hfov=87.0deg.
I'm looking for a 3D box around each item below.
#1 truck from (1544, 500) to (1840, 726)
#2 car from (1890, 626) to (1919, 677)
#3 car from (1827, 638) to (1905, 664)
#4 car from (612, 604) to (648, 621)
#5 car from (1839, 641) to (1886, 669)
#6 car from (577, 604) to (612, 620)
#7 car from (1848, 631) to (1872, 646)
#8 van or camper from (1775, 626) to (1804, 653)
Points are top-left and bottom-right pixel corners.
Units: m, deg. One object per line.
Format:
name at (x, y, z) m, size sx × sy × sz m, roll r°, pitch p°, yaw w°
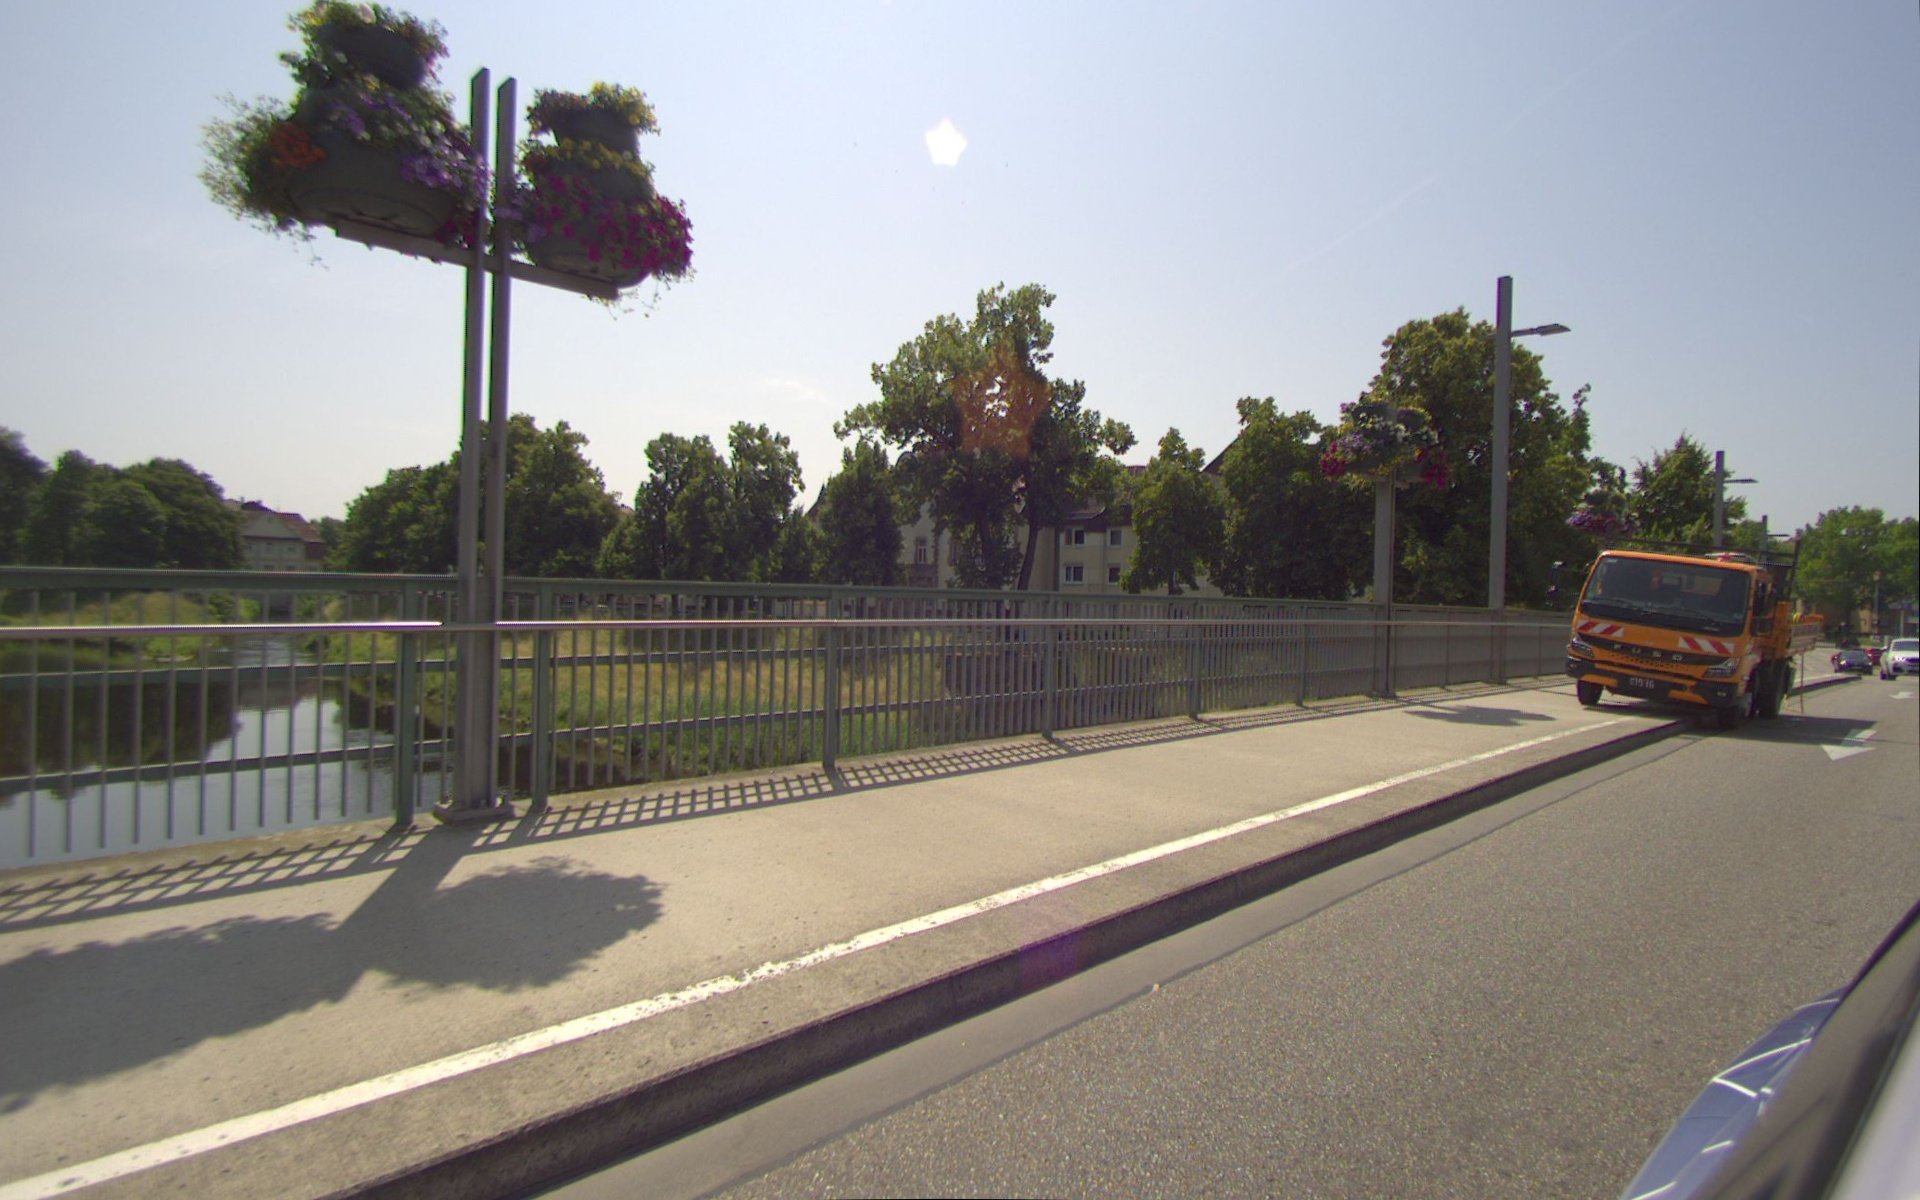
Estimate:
truck at (11.105, 0.173, 15.131) m, size 5.726 × 2.725 × 2.608 m, roll 2°, pitch 0°, yaw -44°
car at (36.959, 1.933, 38.520) m, size 1.990 × 1.772 × 4.382 m, roll 0°, pitch 0°, yaw 39°
car at (65.948, 3.697, 73.755) m, size 1.617 × 1.481 × 3.872 m, roll 1°, pitch 4°, yaw -16°
car at (-34.030, 1.287, 104.384) m, size 3.982 × 1.572 × 1.800 m, roll -3°, pitch -4°, yaw 42°
car at (56.879, 3.448, 63.866) m, size 1.766 × 1.507 × 3.949 m, roll 0°, pitch 1°, yaw 35°
car at (-39.075, 1.294, 108.252) m, size 4.114 × 1.572 × 1.800 m, roll -1°, pitch -3°, yaw 42°
car at (102.711, 4.400, 115.542) m, size 1.710 × 1.504 × 3.976 m, roll -1°, pitch -1°, yaw 38°
van or camper at (90.068, 4.294, 109.982) m, size 2.153 × 2.614 × 5.768 m, roll 1°, pitch 1°, yaw 37°
